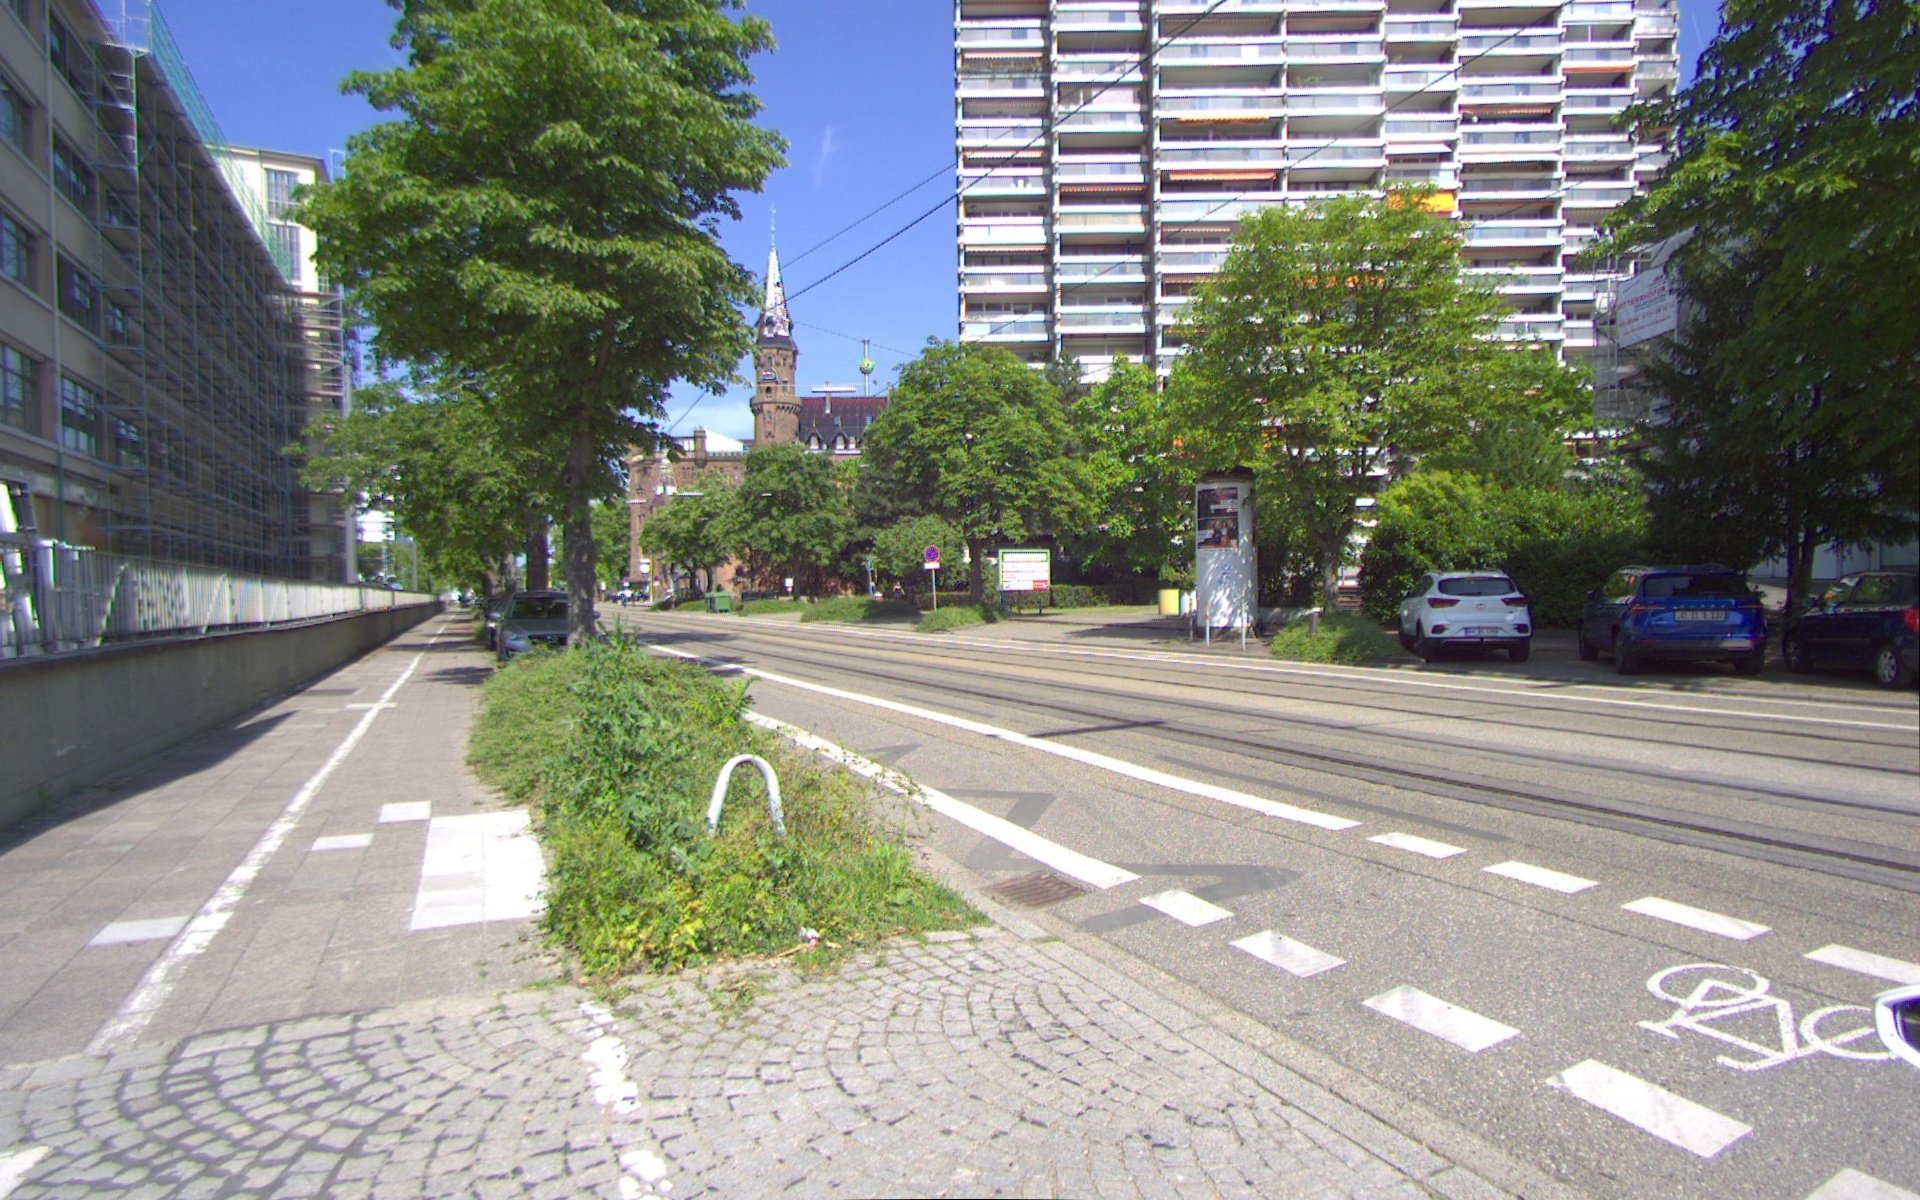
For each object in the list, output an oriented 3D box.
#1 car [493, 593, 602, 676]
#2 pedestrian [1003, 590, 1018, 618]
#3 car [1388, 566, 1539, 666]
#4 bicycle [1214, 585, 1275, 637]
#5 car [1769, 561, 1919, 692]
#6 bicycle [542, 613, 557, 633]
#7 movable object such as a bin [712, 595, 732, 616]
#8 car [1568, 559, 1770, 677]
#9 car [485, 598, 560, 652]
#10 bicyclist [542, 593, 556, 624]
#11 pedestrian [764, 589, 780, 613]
[{"bbox_3d":[-8.697,0.655,21.008,1.797,1.514,4.080,-1,0,-27],"label":"car"},{"bbox_3d":[2.137,0.151,42.906,0.524,1.169,0.701,-1,0,-5],"label":"pedestrian"},{"bbox_3d":[9.397,0.262,19.070,1.783,1.627,3.946,-3,0,16],"label":"car"},{"bbox_3d":[7.531,0.276,26.609,0.541,1.326,1.607,-1,0,-32],"label":"bicycle"},{"bbox_3d":[12.484,0.284,13.336,1.545,1.551,3.458,-1,0,18],"label":"car"},{"bbox_3d":[-22.354,1.239,54.678,0.590,1.020,1.476,-1,0,-28],"label":"bicycle"},{"bbox_3d":[-16.908,0.357,71.255,1.247,1.473,1.074,-1,1,-21],"label":"movable object such as a bin"},{"bbox_3d":[11.140,0.205,16.085,1.746,1.644,3.943,-2,1,22],"label":"car"},{"bbox_3d":[-12.998,0.702,29.740,1.797,1.472,3.973,-1,0,-27],"label":"car"},{"bbox_3d":[-22.348,0.450,54.618,0.624,1.628,0.697,-1,1,-29],"label":"bicyclist"},{"bbox_3d":[-14.610,0.086,77.951,1.044,1.822,1.259,0,0,-21],"label":"pedestrian"}]
